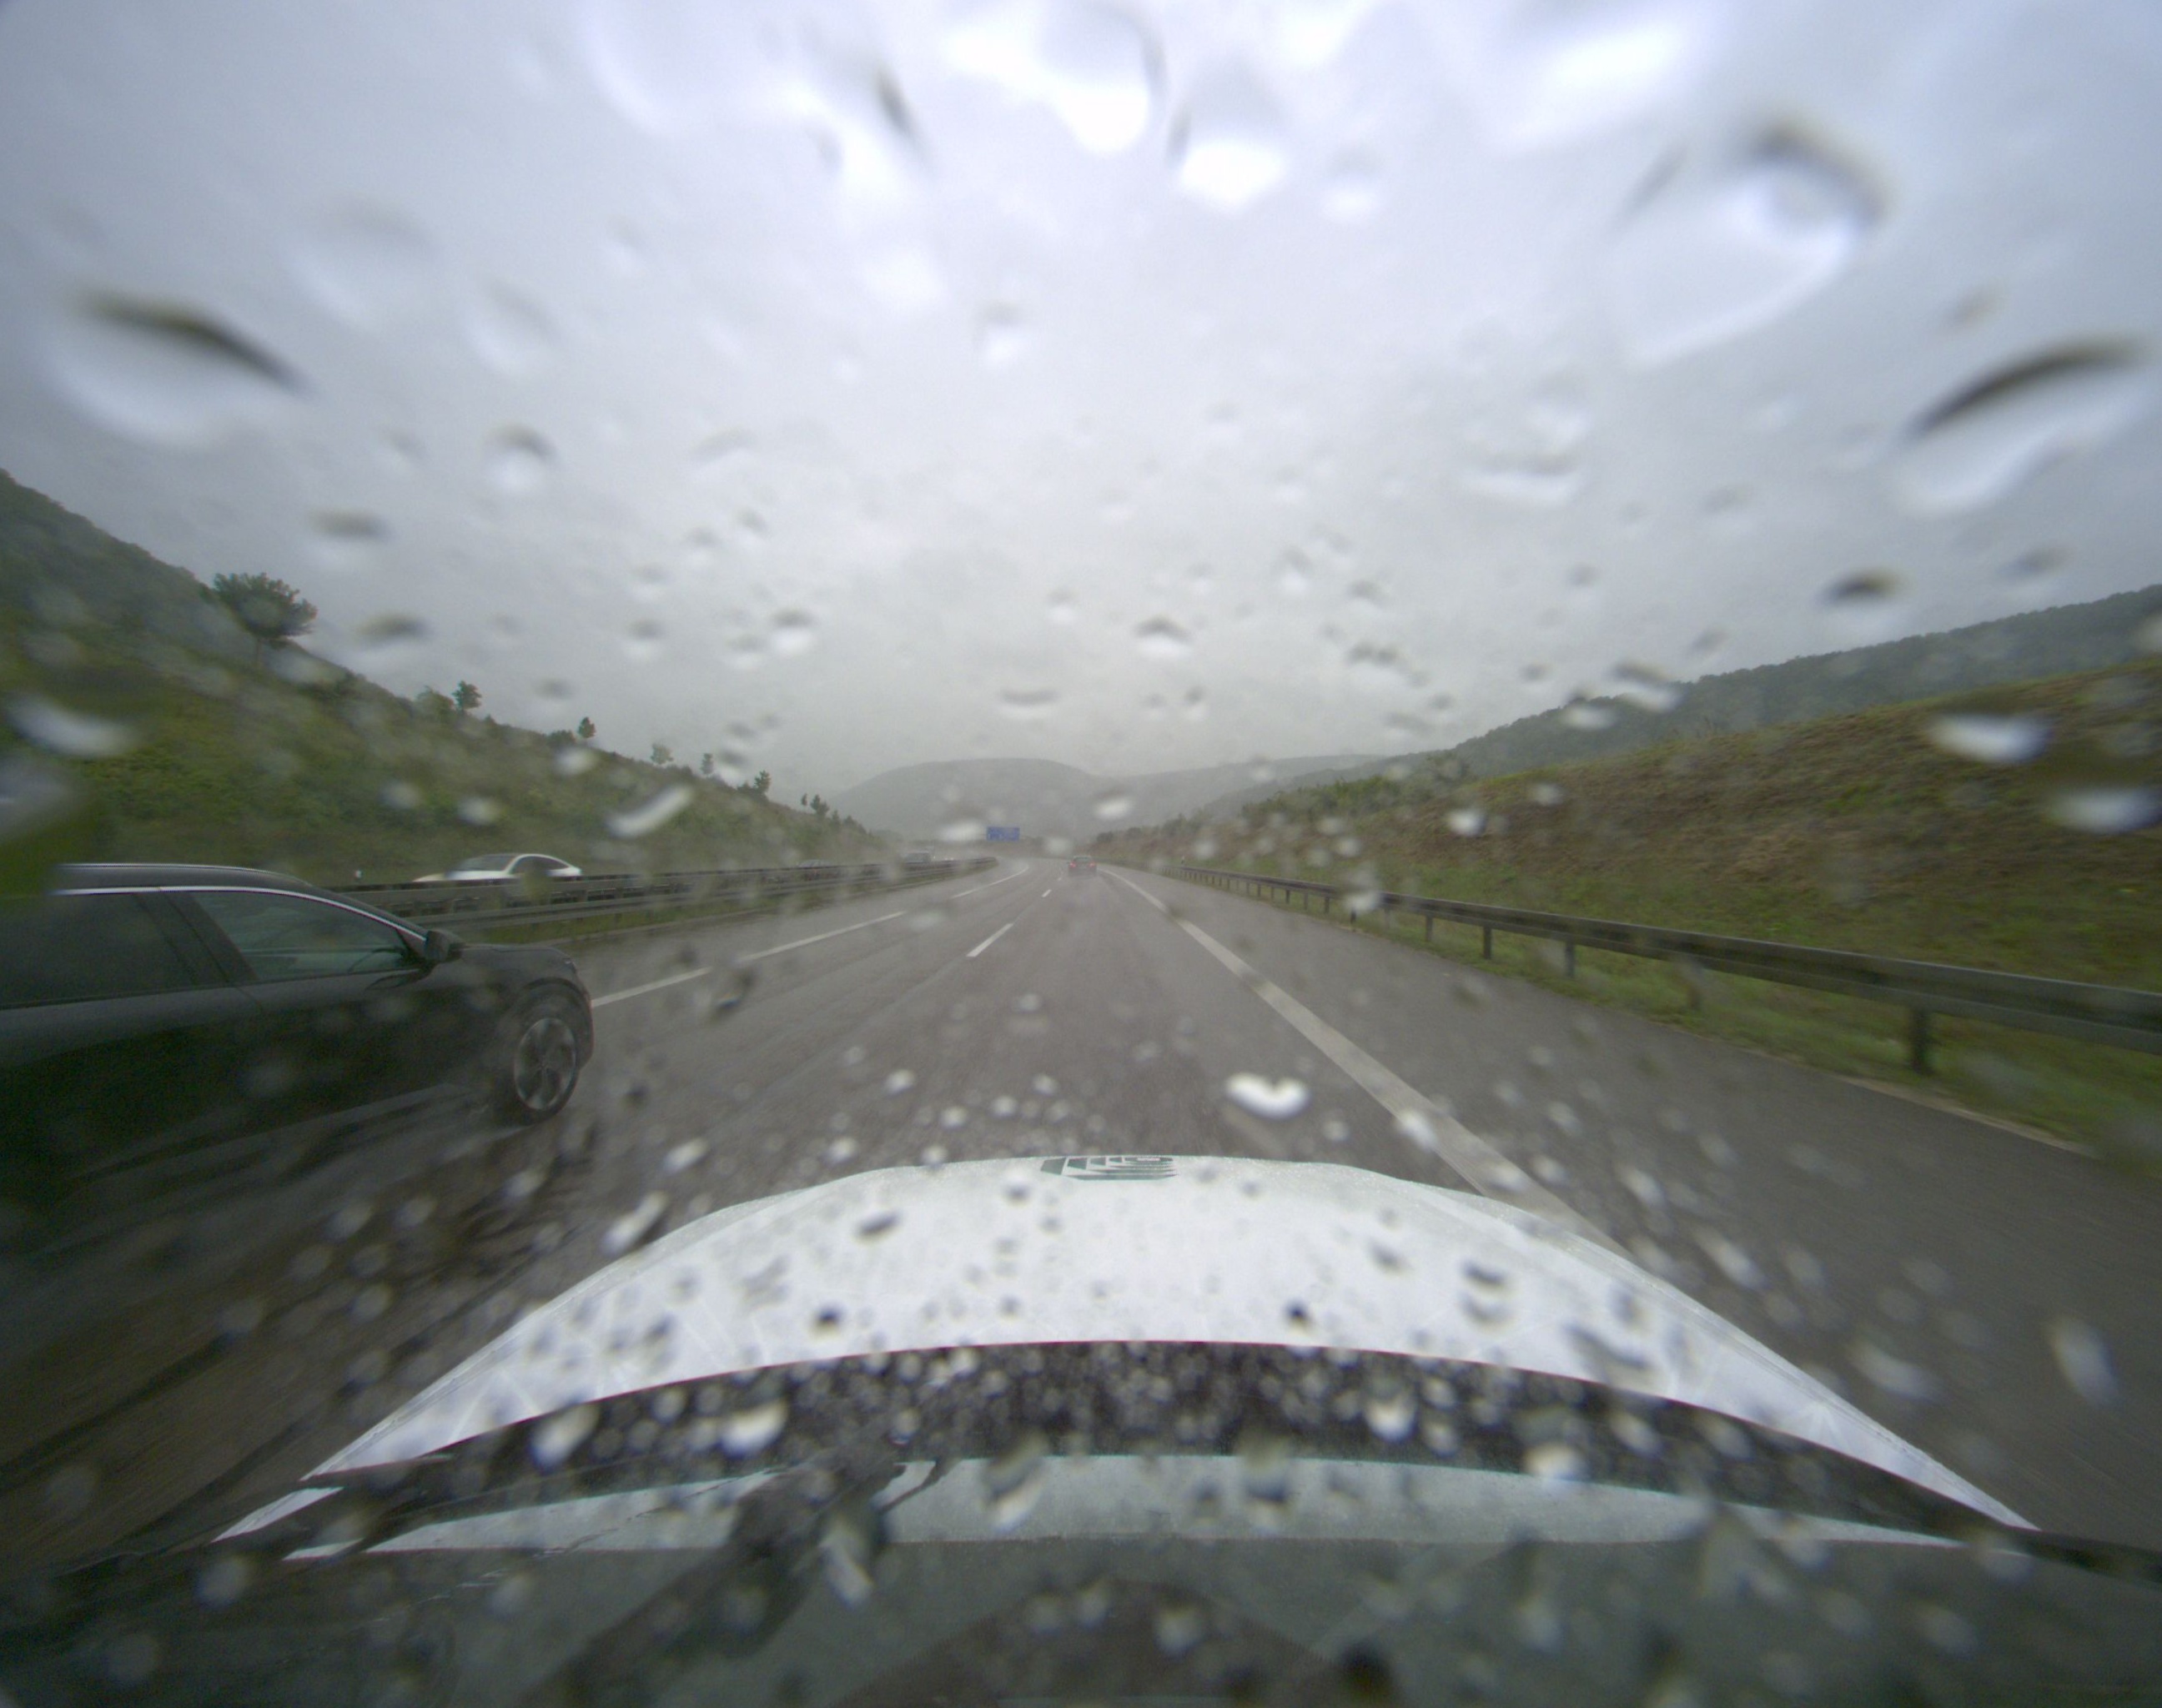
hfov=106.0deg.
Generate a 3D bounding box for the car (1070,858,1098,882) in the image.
[{"bbox_3d":[0.155,0.991,52.591,1.674,1.472,3.812,-1,0,-1],"label":"car"}]

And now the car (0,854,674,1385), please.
[{"bbox_3d":[-4.243,0.778,3.494,2.396,1.515,4.787,-1,0,3],"label":"car"}]

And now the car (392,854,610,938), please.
[{"bbox_3d":[-15.759,1.040,22.633,1.985,2.013,5.393,-1,0,2],"label":"car"}]
